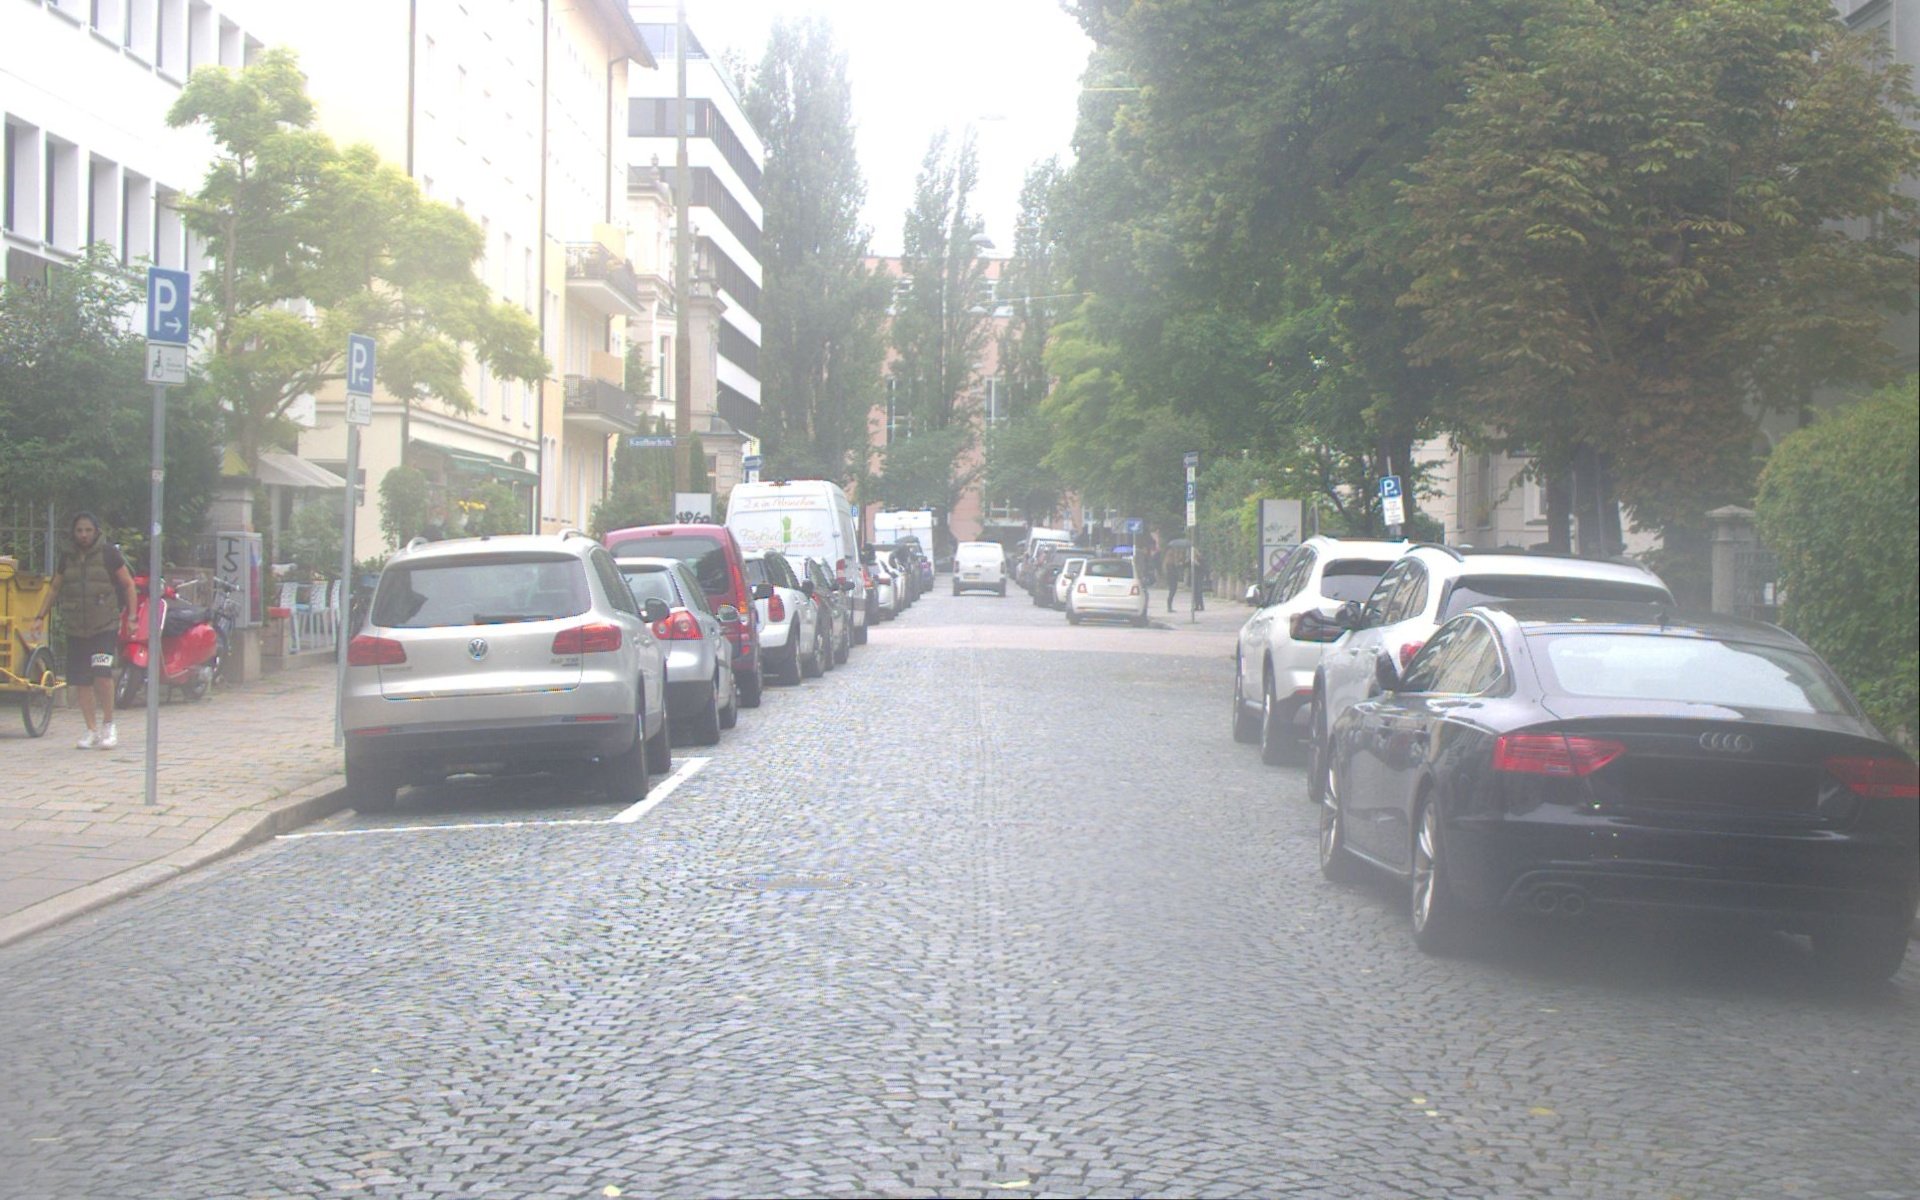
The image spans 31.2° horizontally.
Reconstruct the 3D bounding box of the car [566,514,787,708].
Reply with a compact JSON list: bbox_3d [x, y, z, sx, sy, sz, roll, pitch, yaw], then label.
[{"bbox_3d":[-2.799,0.078,34.798,1.873,1.770,4.123,-2,1,-1],"label":"car"}]

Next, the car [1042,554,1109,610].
[{"bbox_3d":[3.221,-0.524,96.497,1.790,1.515,4.000,1,1,1],"label":"car"}]

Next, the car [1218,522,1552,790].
[{"bbox_3d":[3.105,0.355,26.023,1.873,1.727,4.593,4,1,0],"label":"car"}]

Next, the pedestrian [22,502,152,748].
[{"bbox_3d":[-6.093,0.169,24.024,0.693,1.682,0.720,1,1,0],"label":"pedestrian"}]

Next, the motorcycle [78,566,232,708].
[{"bbox_3d":[-7.052,0.307,30.199,0.623,1.192,1.864,1,1,9],"label":"motorcycle"}]

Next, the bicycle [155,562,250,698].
[{"bbox_3d":[-7.144,0.266,32.365,0.655,1.217,2.090,1,1,-18],"label":"bicycle"}]

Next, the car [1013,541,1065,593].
[{"bbox_3d":[3.193,-1.355,139.696,1.993,2.007,4.000,2,1,1],"label":"car"}]

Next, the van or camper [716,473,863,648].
[{"bbox_3d":[-2.676,-0.632,54.828,1.993,2.643,4.000,-2,1,1],"label":"van or camper"}]

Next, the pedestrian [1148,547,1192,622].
[{"bbox_3d":[5.654,-0.419,92.764,0.856,2.007,0.991,1,1,-17],"label":"pedestrian"}]

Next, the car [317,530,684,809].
[{"bbox_3d":[-2.853,0.371,22.197,1.873,1.574,4.256,-2,1,-2],"label":"car"}]

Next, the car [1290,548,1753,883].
[{"bbox_3d":[3.045,0.556,19.519,1.817,1.574,4.208,4,1,0],"label":"car"}]

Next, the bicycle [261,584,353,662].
[{"bbox_3d":[-7.394,0.250,38.990,0.502,0.836,2.089,1,1,4],"label":"bicycle"}]

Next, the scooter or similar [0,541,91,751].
[{"bbox_3d":[-7.079,0.298,24.746,0.941,1.437,2.656,1,1,0],"label":"scooter or similar"}]

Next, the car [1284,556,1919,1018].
[{"bbox_3d":[2.600,0.632,14.254,1.873,1.498,4.512,4,1,-2],"label":"car"}]

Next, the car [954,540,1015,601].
[{"bbox_3d":[0.855,-1.001,117.264,1.993,2.007,4.000,1,1,1],"label":"car"}]

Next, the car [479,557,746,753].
[{"bbox_3d":[-2.772,0.391,28.247,1.873,1.446,4.208,-1,1,-2],"label":"car"}]

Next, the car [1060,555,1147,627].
[{"bbox_3d":[3.147,-0.222,75.813,1.790,1.515,4.000,1,1,1],"label":"car"}]

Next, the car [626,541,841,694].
[{"bbox_3d":[-2.564,0.171,39.877,1.873,1.574,4.207,3,1,4],"label":"car"}]

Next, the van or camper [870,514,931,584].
[{"bbox_3d":[-2.390,-2.067,139.424,2.256,2.733,5.098,2,1,1],"label":"van or camper"}]

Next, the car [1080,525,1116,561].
[{"bbox_3d":[8.162,-3.349,203.155,1.993,2.007,4.000,1,0,1],"label":"car"}]

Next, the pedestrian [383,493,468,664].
[{"bbox_3d":[-6.084,-0.248,39.164,0.792,1.911,0.759,2,1,0],"label":"pedestrian"}]

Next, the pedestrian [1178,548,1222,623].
[{"bbox_3d":[6.508,-0.402,93.193,0.856,2.007,0.991,1,1,-17],"label":"pedestrian"}]

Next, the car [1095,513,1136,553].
[{"bbox_3d":[8.071,-3.458,178.607,1.993,2.007,4.000,1,0,1],"label":"car"}]
